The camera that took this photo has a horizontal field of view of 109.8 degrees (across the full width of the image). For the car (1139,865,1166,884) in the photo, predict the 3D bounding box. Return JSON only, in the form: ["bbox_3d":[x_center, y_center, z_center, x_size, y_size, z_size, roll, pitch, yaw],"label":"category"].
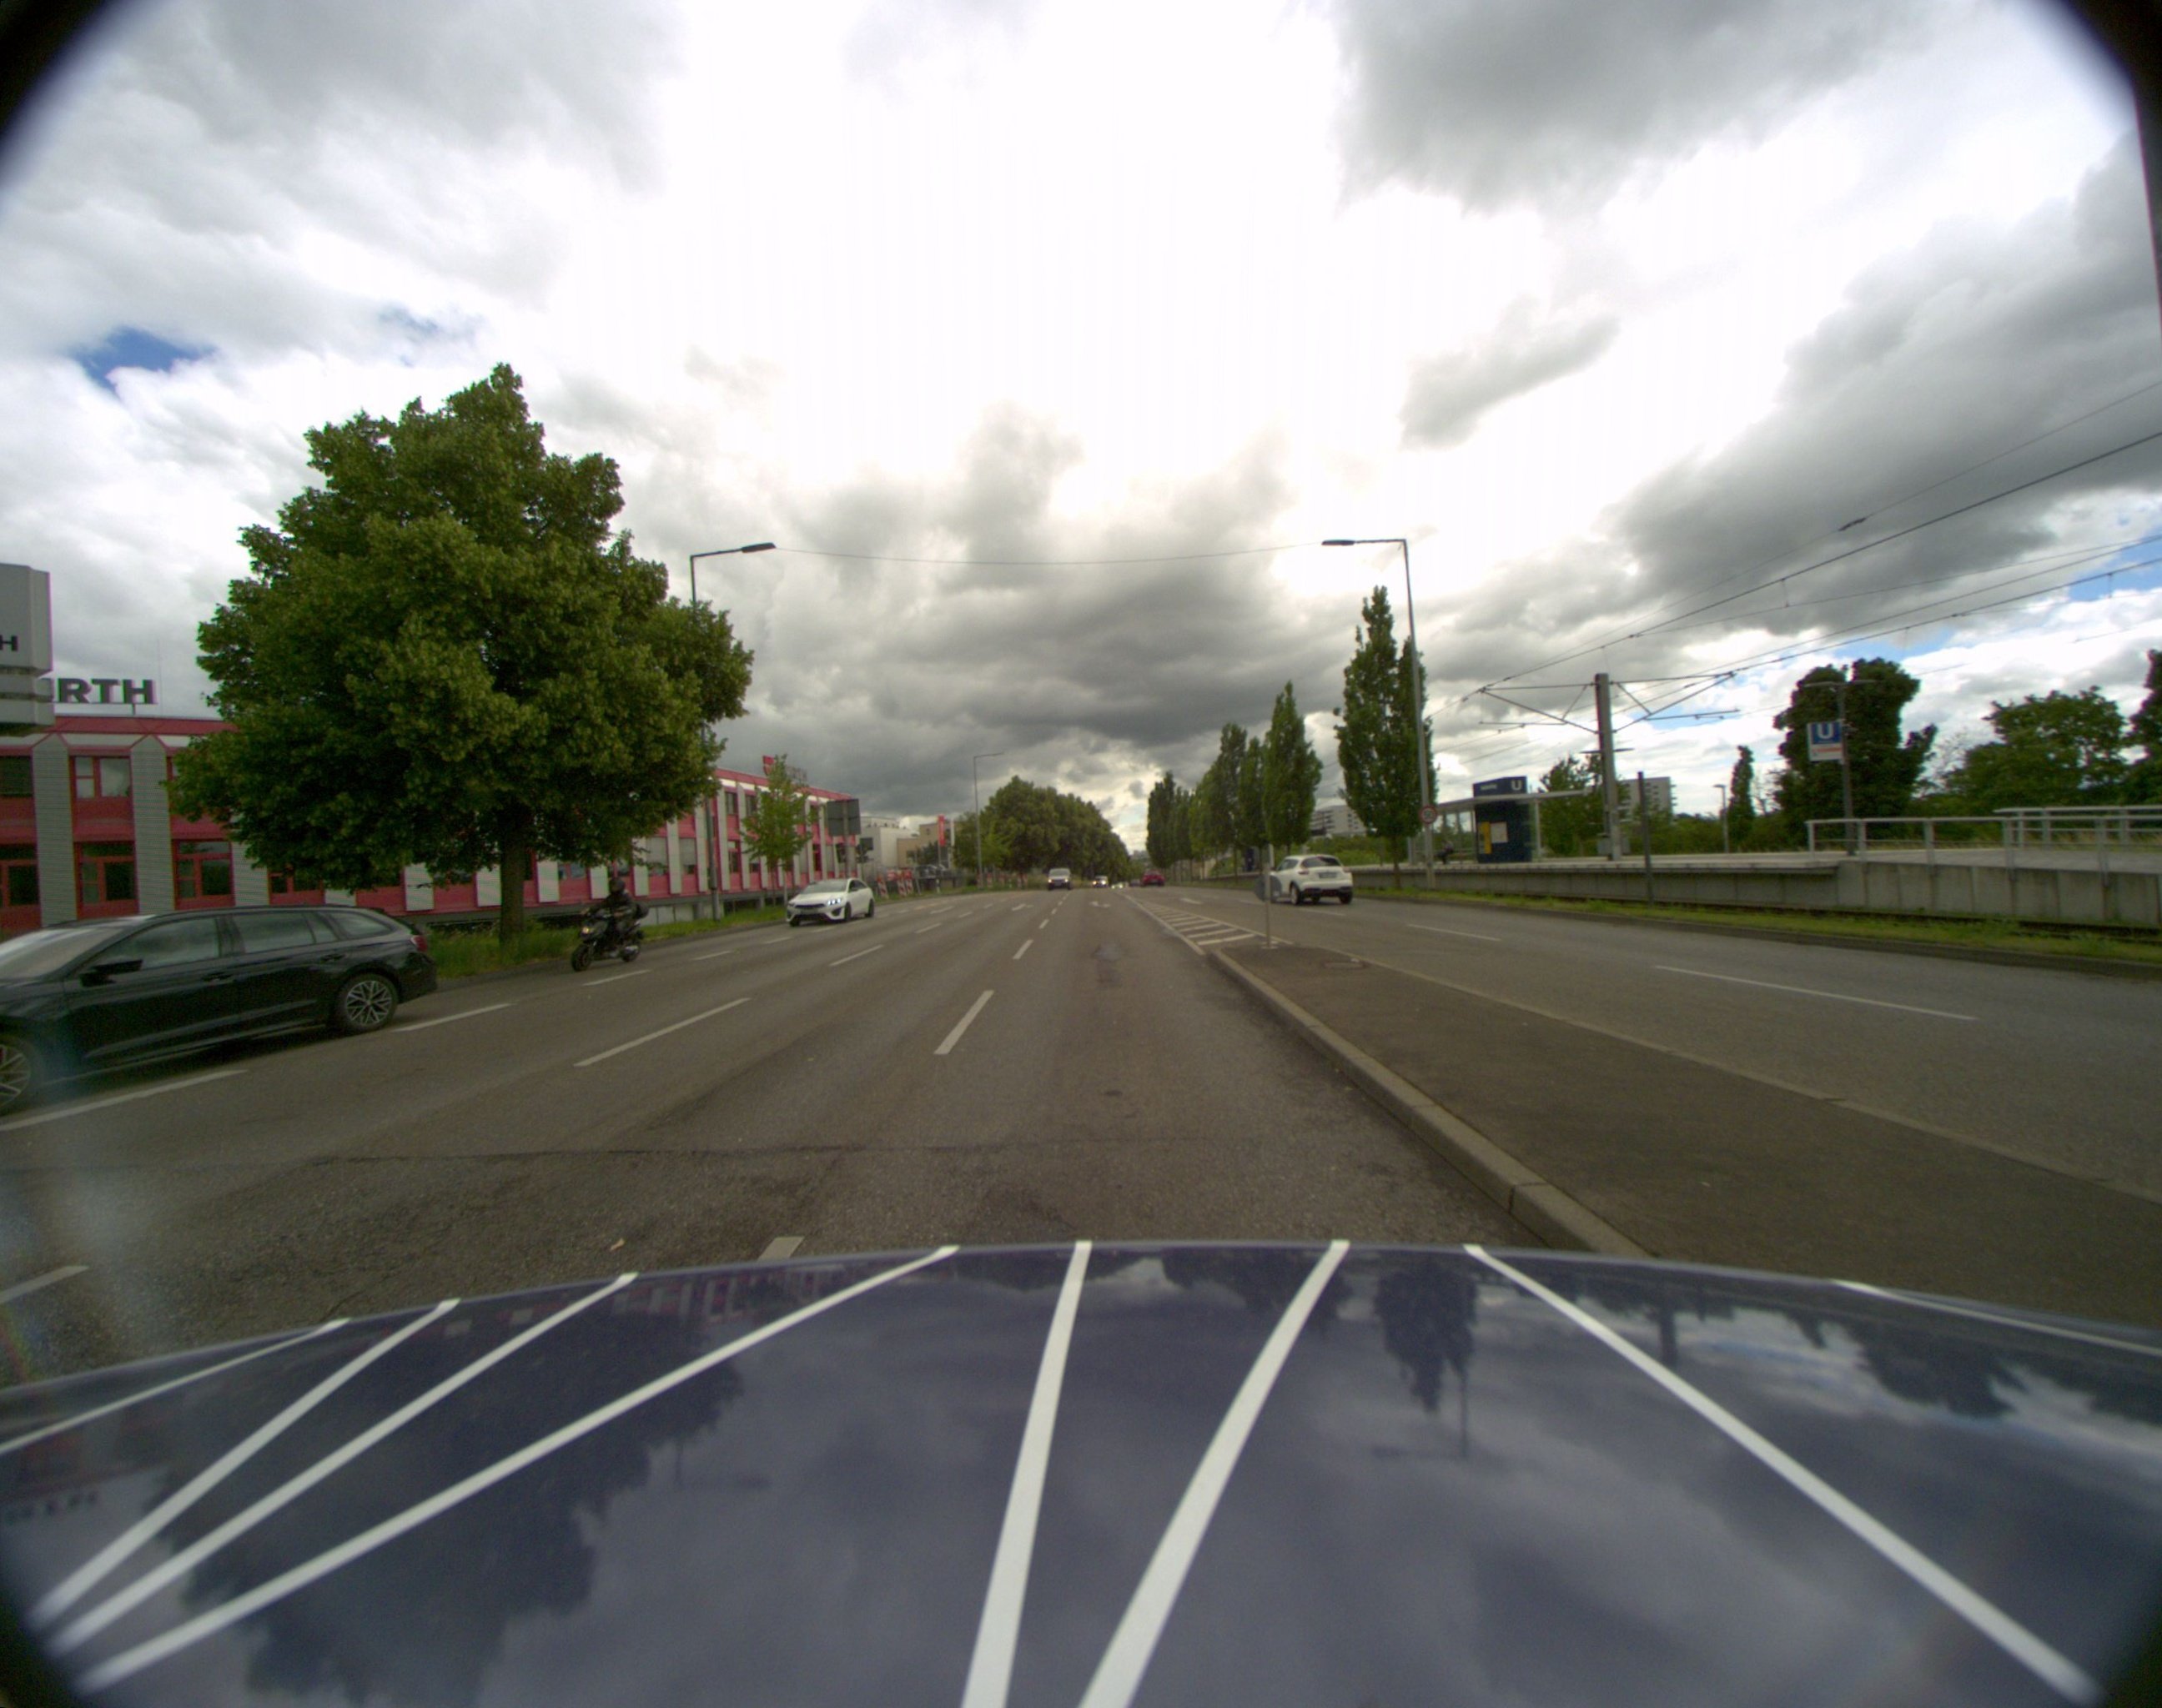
[{"bbox_3d":[5.921,1.671,63.043,1.785,1.434,4.426,-3,-1,0],"label":"car"}]

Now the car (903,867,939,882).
[{"bbox_3d":[-21.222,2.687,101.001,4.248,1.744,1.784,-2,0,2],"label":"car"}]

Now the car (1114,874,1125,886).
[{"bbox_3d":[6.531,4.422,129.249,1.782,1.744,4.253,-2,0,3],"label":"car"}]

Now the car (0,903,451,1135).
[{"bbox_3d":[-8.607,1.397,6.790,1.784,1.437,4.529,-6,0,5],"label":"car"}]

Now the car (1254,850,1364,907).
[{"bbox_3d":[7.181,0.713,24.419,1.834,1.619,4.423,-2,0,-5],"label":"car"}]

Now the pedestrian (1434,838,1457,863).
[{"bbox_3d":[17.616,-0.174,36.729,0.663,1.195,0.782,-2,0,-7],"label":"pedestrian"}]

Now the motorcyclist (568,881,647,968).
[{"bbox_3d":[-8.713,1.269,14.017,0.749,1.481,0.934,-4,-1,2],"label":"motorcyclist"}]

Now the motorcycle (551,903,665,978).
[{"bbox_3d":[-8.693,1.552,14.072,0.749,1.140,1.943,-4,-1,3],"label":"motorcycle"}]

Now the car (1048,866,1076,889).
[{"bbox_3d":[-1.498,1.881,61.910,1.782,1.744,4.253,-2,0,4],"label":"car"}]

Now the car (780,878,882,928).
[{"bbox_3d":[-8.013,1.529,24.775,1.785,1.354,4.480,-3,-1,0],"label":"car"}]

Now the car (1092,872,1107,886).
[{"bbox_3d":[2.609,3.496,106.176,1.984,1.744,4.253,-2,0,3],"label":"car"}]

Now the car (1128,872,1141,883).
[{"bbox_3d":[8.613,3.815,121.941,1.782,1.537,4.225,-2,0,0],"label":"car"}]
